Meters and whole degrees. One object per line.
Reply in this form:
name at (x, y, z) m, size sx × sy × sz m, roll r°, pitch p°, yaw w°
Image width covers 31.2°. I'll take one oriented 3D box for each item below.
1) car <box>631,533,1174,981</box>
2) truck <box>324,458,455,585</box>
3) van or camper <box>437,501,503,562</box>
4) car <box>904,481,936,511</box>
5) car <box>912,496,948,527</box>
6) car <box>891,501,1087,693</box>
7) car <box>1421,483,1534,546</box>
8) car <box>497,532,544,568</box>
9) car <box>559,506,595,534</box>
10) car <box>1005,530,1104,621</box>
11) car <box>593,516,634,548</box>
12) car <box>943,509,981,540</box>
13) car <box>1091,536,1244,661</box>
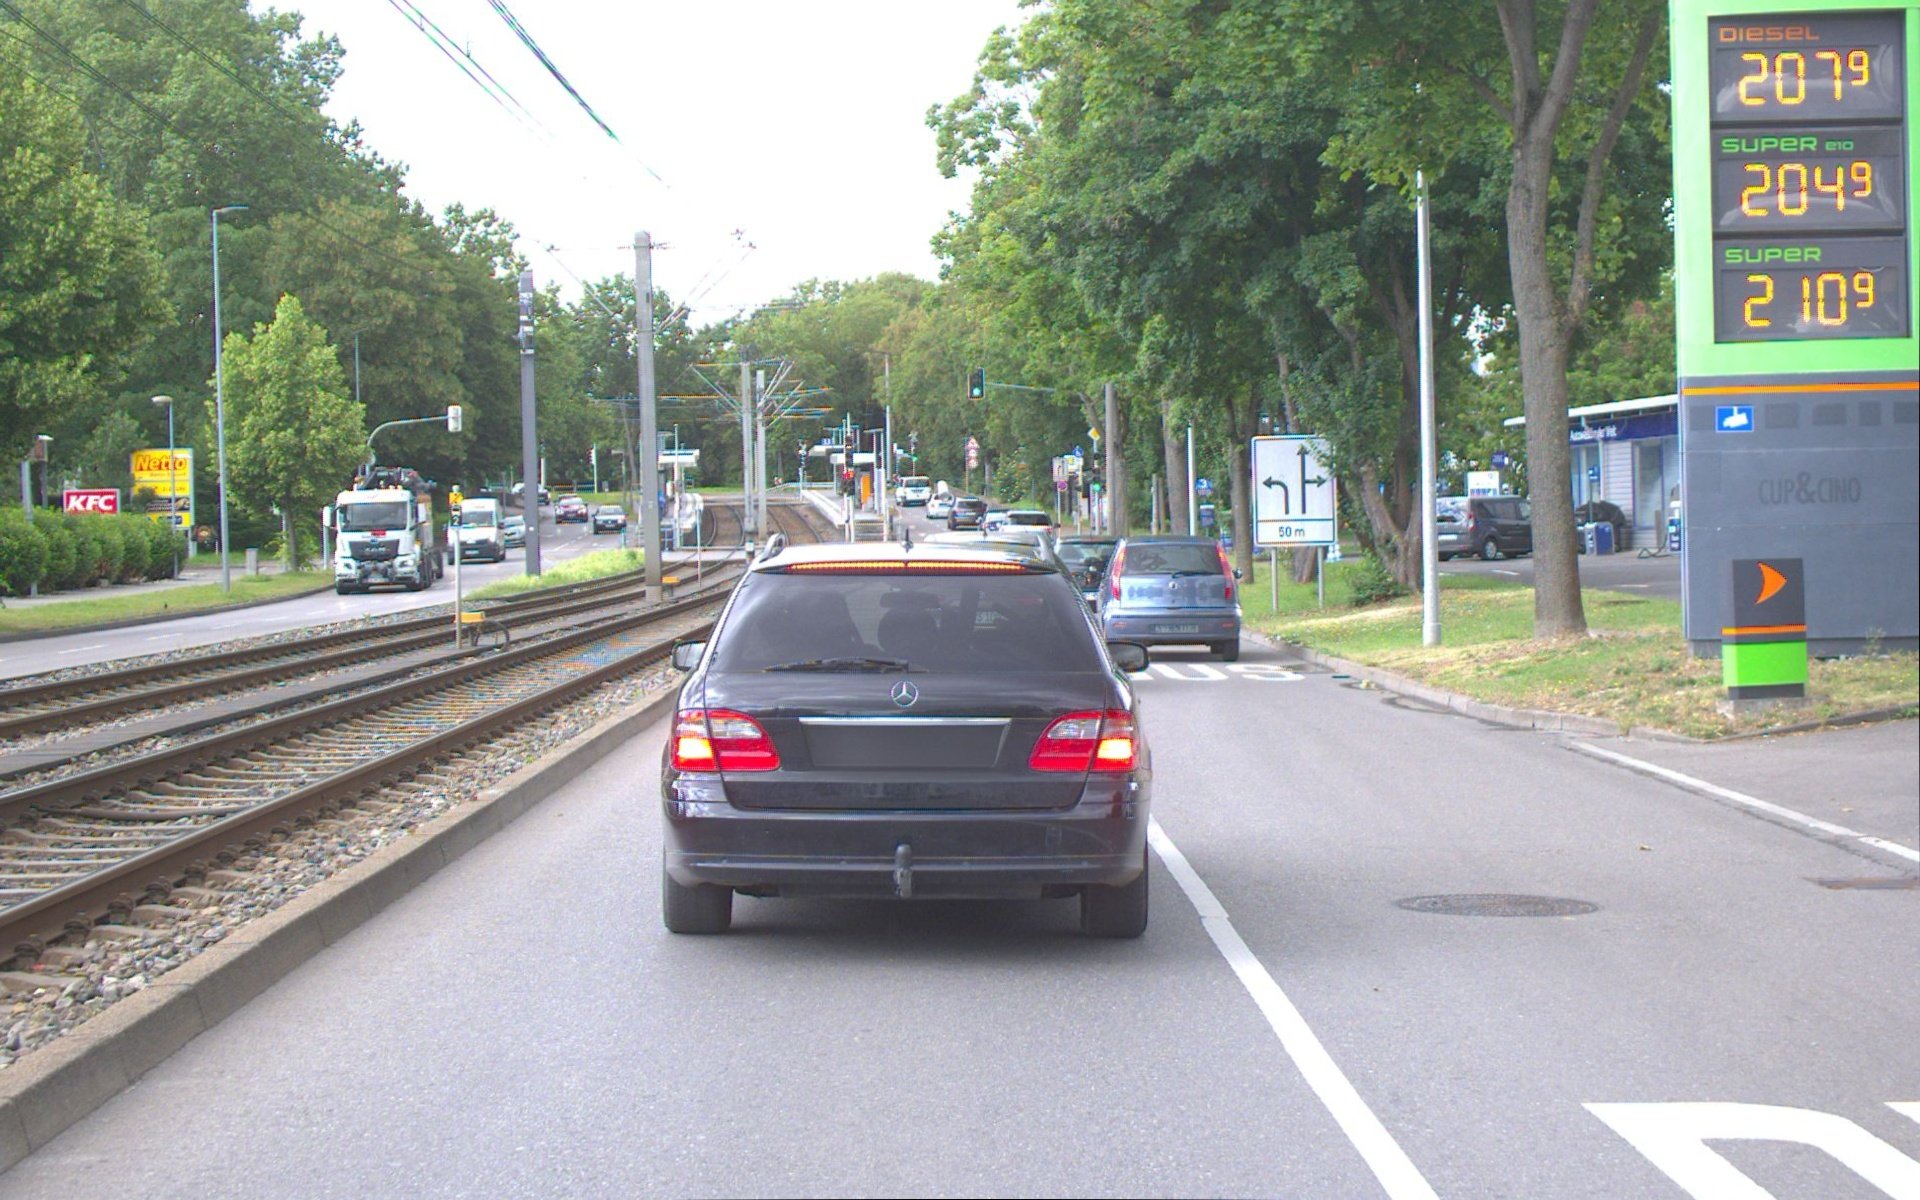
car at (-0.206, 0.488, 13.421) m, size 1.808 × 1.469 × 3.881 m, roll 0°, pitch 1°, yaw 0°
truck at (-17.476, -2.411, 105.978) m, size 2.706 × 3.651 × 11.114 m, roll -2°, pitch 1°, yaw -3°
van or camper at (-19.511, -2.734, 137.077) m, size 1.993 × 2.346 × 5.766 m, roll -2°, pitch 1°, yaw -2°
car at (-2.556, -6.628, 218.745) m, size 1.993 × 1.831 × 4.000 m, roll 1°, pitch 1°, yaw -1°
car at (-1.688, -5.028, 195.987) m, size 1.993 × 1.708 × 4.000 m, roll -1°, pitch 1°, yaw 0°
car at (0.249, -0.056, 33.613) m, size 1.780 × 1.744 × 3.718 m, roll 1°, pitch 1°, yaw 0°
car at (14.682, -2.435, 97.347) m, size 2.008 × 1.677 × 4.574 m, roll -1°, pitch 2°, yaw 24°
car at (-20.724, -2.372, 162.325) m, size 1.765 × 1.641 × 3.771 m, roll 1°, pitch 1°, yaw 0°
car at (-23.142, -4.813, 207.963) m, size 1.765 × 1.641 × 3.771 m, roll 1°, pitch 1°, yaw 0°
car at (1.517, -0.412, 56.164) m, size 1.466 × 1.410 × 3.354 m, roll 1°, pitch 1°, yaw 0°
car at (-18.185, -3.561, 180.561) m, size 1.765 × 1.641 × 3.771 m, roll 1°, pitch 1°, yaw 0°
car at (0.085, -3.852, 175.143) m, size 1.666 × 1.527 × 3.771 m, roll 0°, pitch 1°, yaw -4°
car at (2.444, -0.039, 41.070) m, size 1.571 × 1.410 × 3.354 m, roll 1°, pitch 1°, yaw 0°
